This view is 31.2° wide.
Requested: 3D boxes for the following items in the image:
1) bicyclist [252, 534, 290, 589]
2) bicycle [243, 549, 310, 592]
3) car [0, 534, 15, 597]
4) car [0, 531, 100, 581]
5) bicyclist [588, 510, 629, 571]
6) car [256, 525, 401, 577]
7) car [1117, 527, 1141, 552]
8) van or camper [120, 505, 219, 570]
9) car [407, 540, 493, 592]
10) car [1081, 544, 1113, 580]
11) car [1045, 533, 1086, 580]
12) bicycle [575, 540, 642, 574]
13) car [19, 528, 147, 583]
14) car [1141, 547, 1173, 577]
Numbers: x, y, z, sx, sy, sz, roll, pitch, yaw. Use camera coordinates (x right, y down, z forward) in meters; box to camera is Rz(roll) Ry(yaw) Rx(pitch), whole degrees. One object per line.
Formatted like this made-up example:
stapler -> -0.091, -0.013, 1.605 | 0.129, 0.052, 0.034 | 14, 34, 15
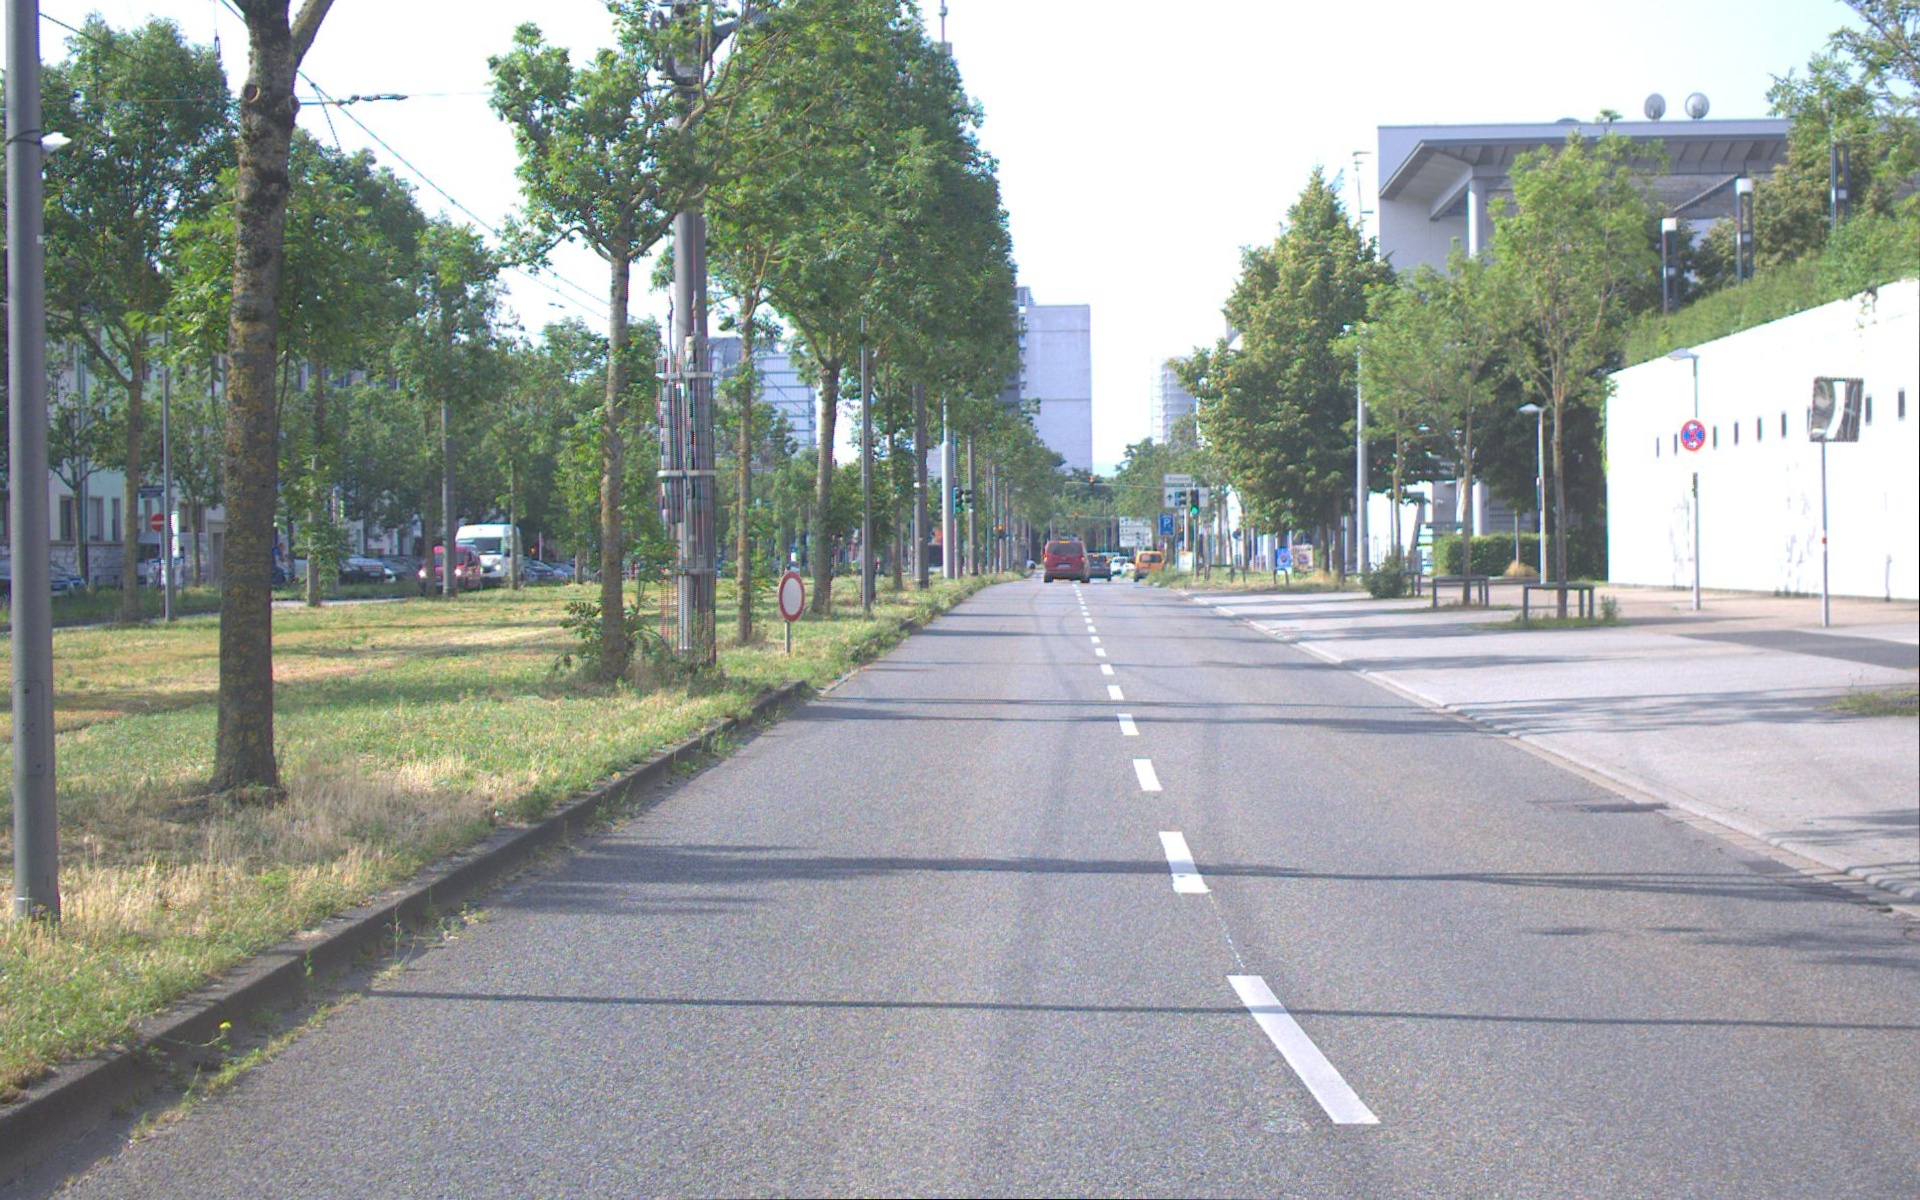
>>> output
bicyclist -> -22.107, -1.237, 110.339 | 1.146, 1.756, 0.686 | 2, 1, -10
bicycle -> -21.953, -0.954, 110.378 | 2.066, 1.319, 0.784 | 2, 1, -10
car -> -23.402, -0.830, 77.993 | 3.995, 1.412, 1.574 | 2, 1, 35
car -> -22.952, -1.097, 85.106 | 3.160, 1.157, 1.494 | 2, 1, 34
bicyclist -> -11.344, -1.911, 110.901 | 1.147, 1.927, 0.686 | 2, 1, 4
car -> -22.747, -1.763, 123.761 | 5.321, 1.732, 1.996 | 2, 1, 36
car -> 12.351, -4.434, 251.293 | 1.748, 1.644, 3.216 | 2, 2, 3
van or camper -> -29.637, -2.317, 129.049 | 1.994, 2.320, 5.827 | 2, 1, 4
car -> -17.483, -1.171, 118.123 | 1.965, 1.688, 4.296 | 2, 1, 4
car -> 7.847, -2.185, 196.766 | 1.748, 2.007, 3.215 | 2, 1, 3
car -> 4.698, -1.937, 152.825 | 1.748, 2.007, 3.215 | 2, 1, 3
bicycle -> -11.333, -1.381, 110.904 | 2.066, 1.038, 0.668 | 2, 1, 3
car -> -22.774, -1.168, 89.267 | 3.161, 1.322, 1.494 | 2, 1, 36
car -> 11.227, -2.192, 196.245 | 1.748, 1.645, 3.215 | 2, 1, 3
